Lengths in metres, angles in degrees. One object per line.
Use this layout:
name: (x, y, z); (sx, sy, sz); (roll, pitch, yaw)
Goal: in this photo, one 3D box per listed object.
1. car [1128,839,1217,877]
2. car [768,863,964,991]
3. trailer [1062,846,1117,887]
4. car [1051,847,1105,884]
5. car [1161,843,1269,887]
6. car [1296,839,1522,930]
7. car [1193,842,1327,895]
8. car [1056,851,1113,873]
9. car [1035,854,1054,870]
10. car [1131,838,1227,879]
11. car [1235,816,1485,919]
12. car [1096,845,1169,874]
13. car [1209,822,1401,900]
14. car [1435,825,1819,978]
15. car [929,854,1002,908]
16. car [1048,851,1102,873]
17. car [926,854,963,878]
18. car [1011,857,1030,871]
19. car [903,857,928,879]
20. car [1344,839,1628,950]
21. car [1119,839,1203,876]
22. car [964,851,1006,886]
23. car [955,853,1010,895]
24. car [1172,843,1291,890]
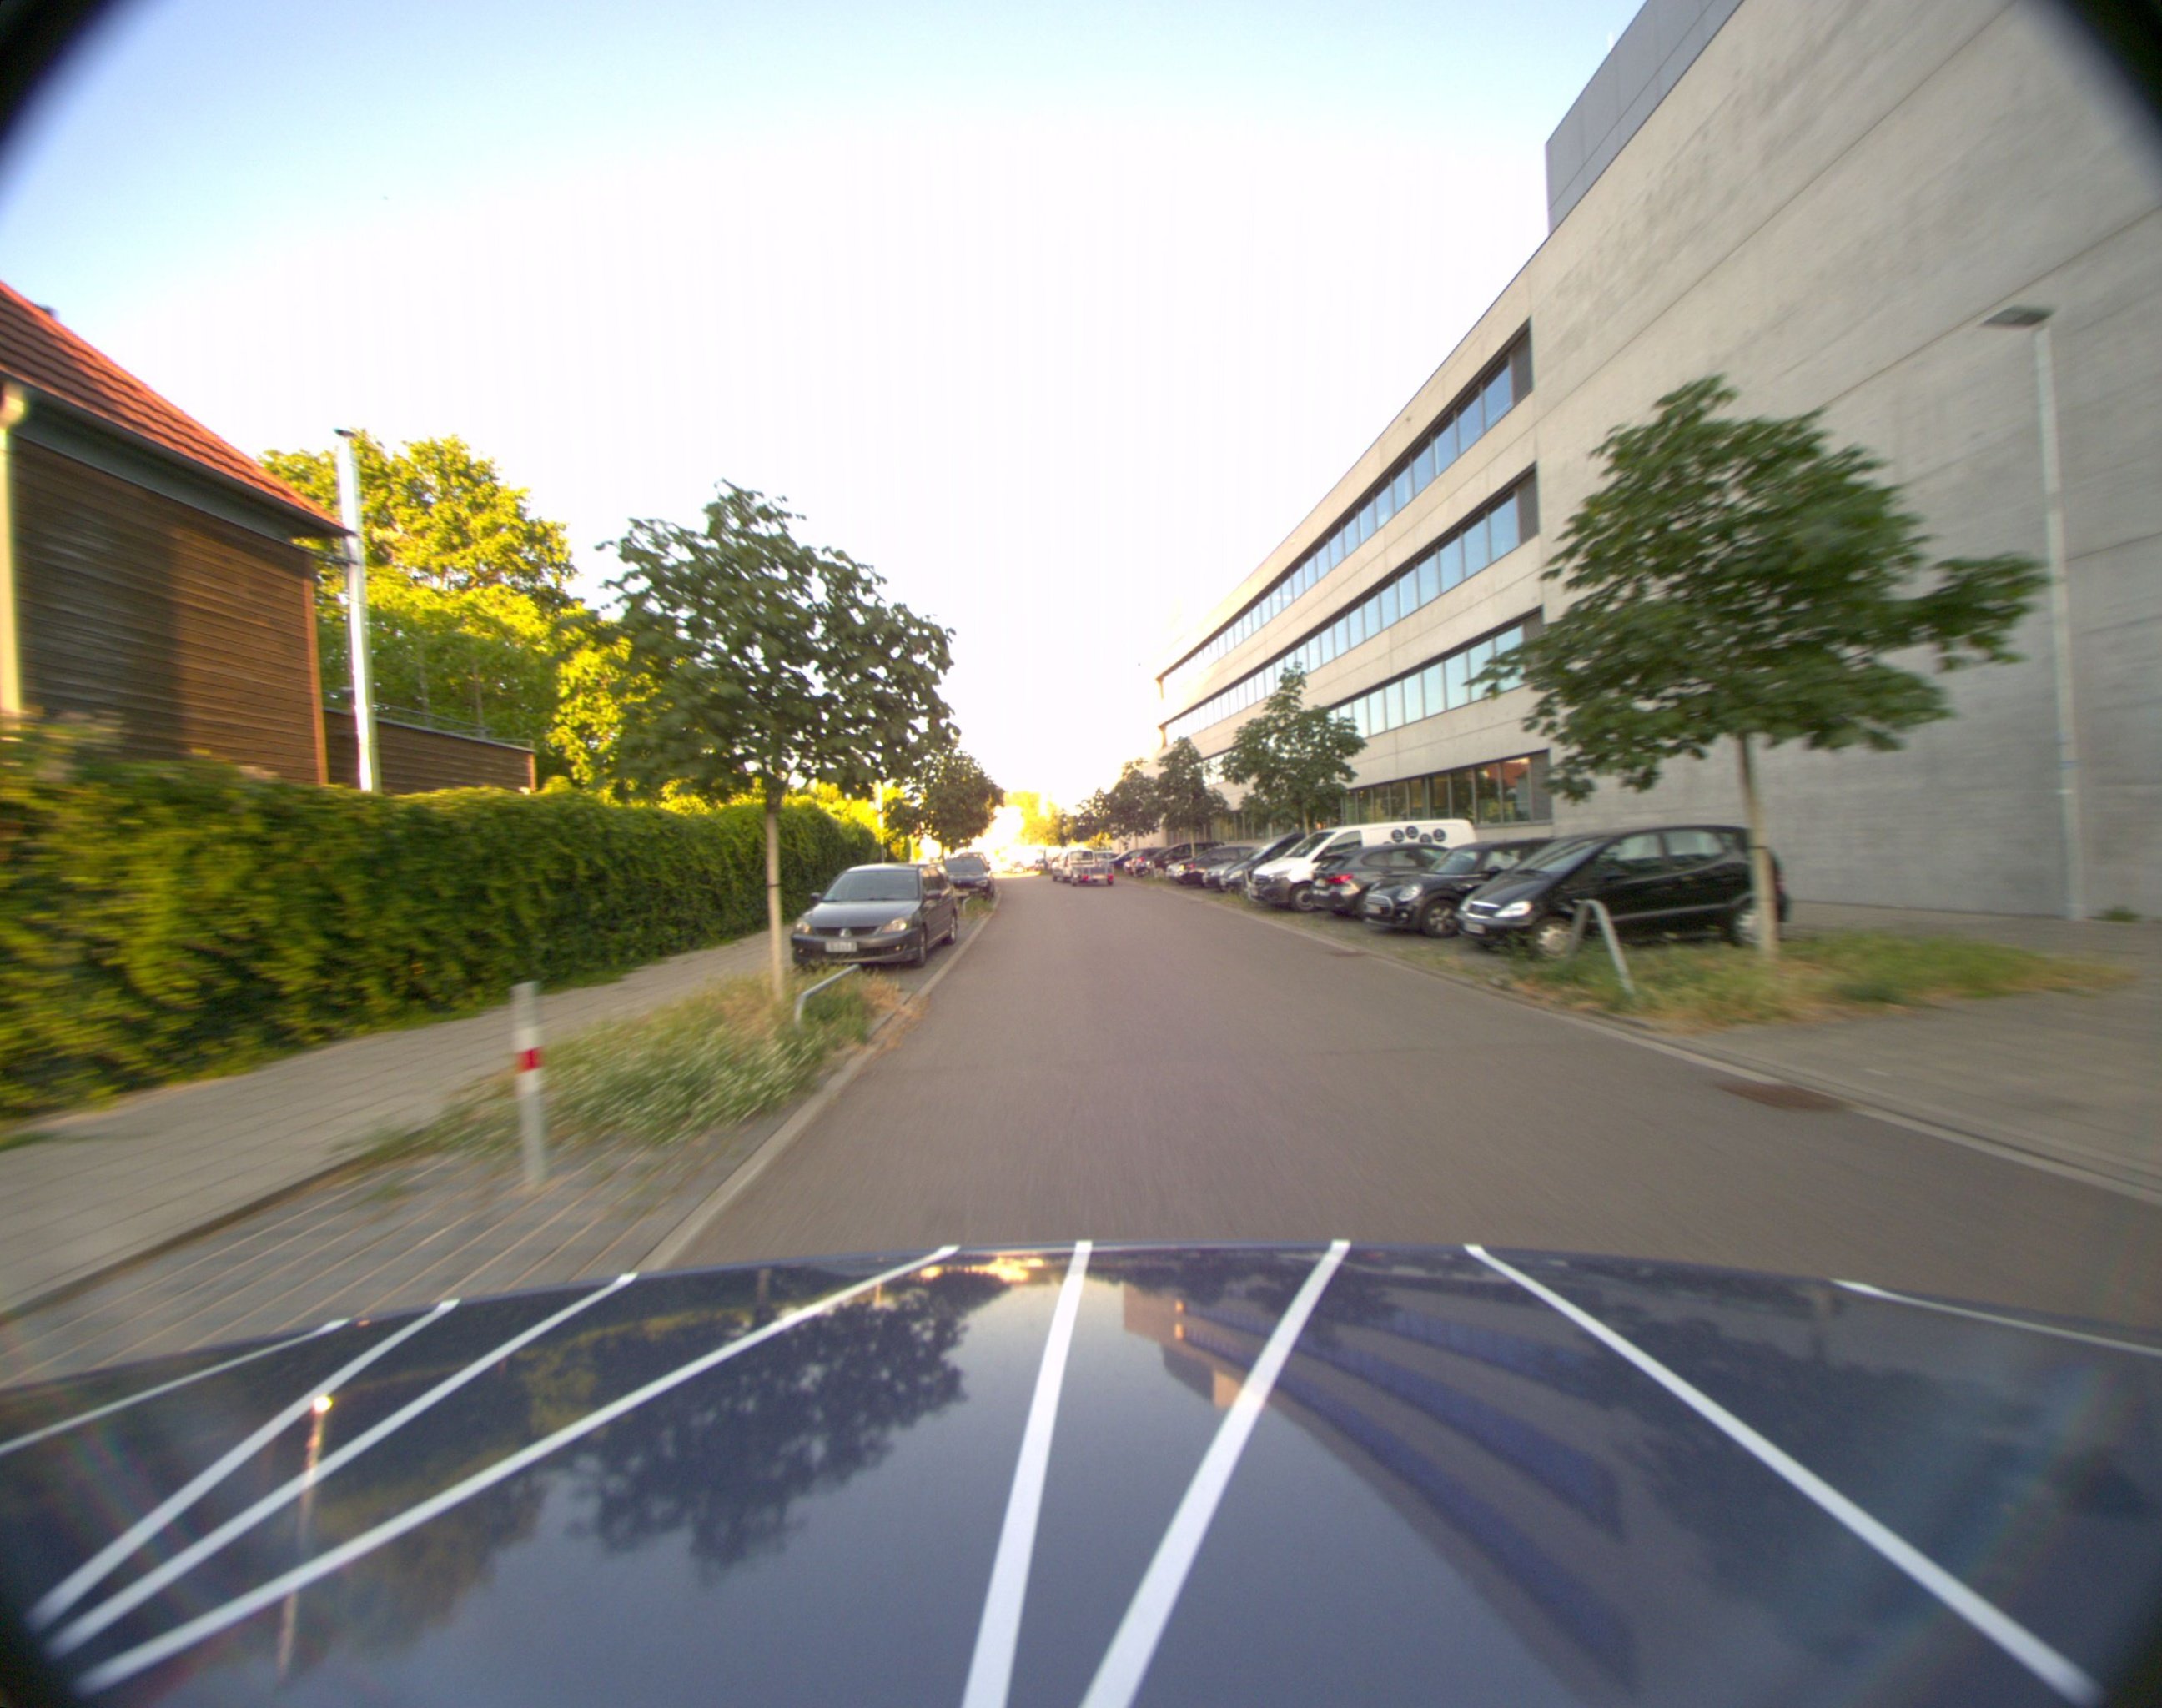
car: (4.608, 0.189, 38.564); (4.028, 1.574, 1.798); (-5, 1, -10)
car: (-2.999, 0.937, 11.598); (1.680, 1.454, 4.368); (-2, 0, 0)
trailer: (0.322, 0.517, 33.202); (1.700, 1.611, 3.761); (-2, 0, -9)
car: (-0.221, 0.539, 36.679); (1.764, 1.611, 4.775); (-2, 0, -9)
car: (5.241, 0.415, 30.096); (3.812, 1.353, 1.799); (-5, 1, -4)
car: (6.406, 0.575, 15.135); (3.655, 1.416, 1.725); (-5, 1, 0)
car: (5.778, 0.458, 24.851); (3.812, 1.353, 1.799); (-5, 1, -4)
car: (0.227, 0.603, 58.215); (4.028, 1.340, 1.798); (-5, 1, -10)
car: (-3.947, 0.830, 80.700); (1.799, 1.442, 4.027); (-5, 0, -4)
car: (4.587, 0.210, 35.823); (4.028, 1.574, 1.798); (-5, 1, -10)
car: (6.418, 0.289, 17.810); (5.083, 1.870, 1.888); (-5, 1, -4)
car: (3.076, 0.332, 45.677); (4.028, 1.340, 1.798); (-5, 1, -10)
car: (6.628, 0.187, 22.790); (5.083, 1.817, 1.888); (-5, 1, -4)
car: (6.886, 0.564, 9.901); (3.654, 1.538, 1.725); (-5, 1, 1)
car: (-3.511, 0.777, 23.758); (1.770, 1.454, 4.366); (-2, 0, -3)
car: (-0.515, 0.622, 60.617); (4.028, 1.340, 1.798); (-5, 1, -10)
car: (-8.734, 0.739, 48.970); (1.770, 1.454, 4.366); (-2, 0, -3)
car: (-6.343, 1.052, 79.910); (1.799, 1.340, 4.027); (-5, 0, -4)
car: (-17.781, 1.490, 81.343); (2.253, 2.161, 5.145); (-2, 0, -15)
car: (6.491, 0.615, 12.490); (3.654, 1.416, 1.725); (-5, 1, 1)
car: (4.251, 0.182, 40.783); (4.028, 1.574, 1.798); (-5, 1, -10)
car: (-4.457, 0.647, 35.425); (1.771, 1.454, 4.365); (-2, 0, -7)
car: (-3.834, 0.729, 30.100); (1.770, 1.454, 4.366); (-2, 0, -3)
car: (5.418, 0.436, 27.610); (3.812, 1.353, 1.799); (-5, 1, -4)
